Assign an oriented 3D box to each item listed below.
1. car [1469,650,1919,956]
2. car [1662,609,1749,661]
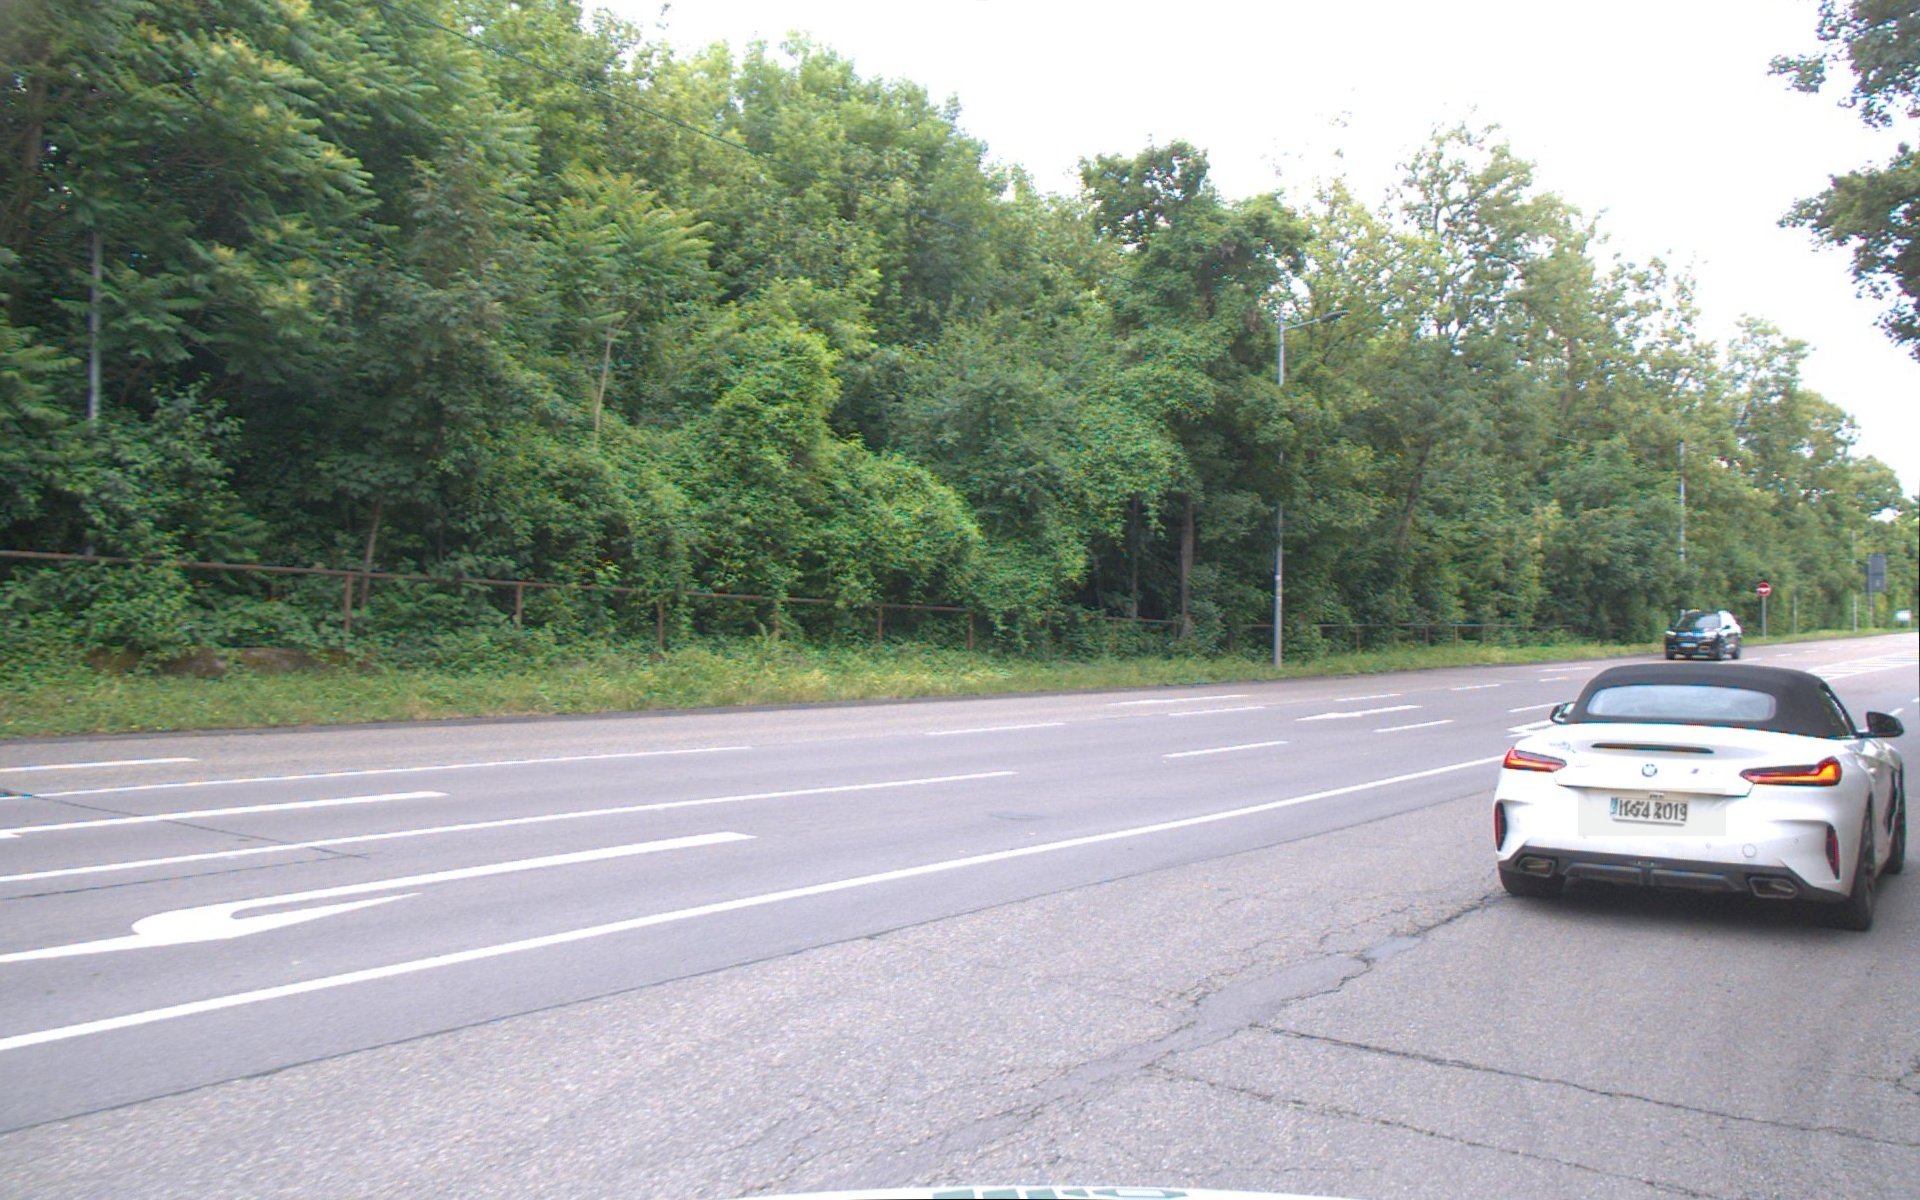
[{"bbox_3d":[4.489,0.995,9.672,1.842,1.332,3.860,1,-1,34],"label":"car"},{"bbox_3d":[25.958,1.236,57.510,1.793,1.682,4.202,2,0,38],"label":"car"}]
